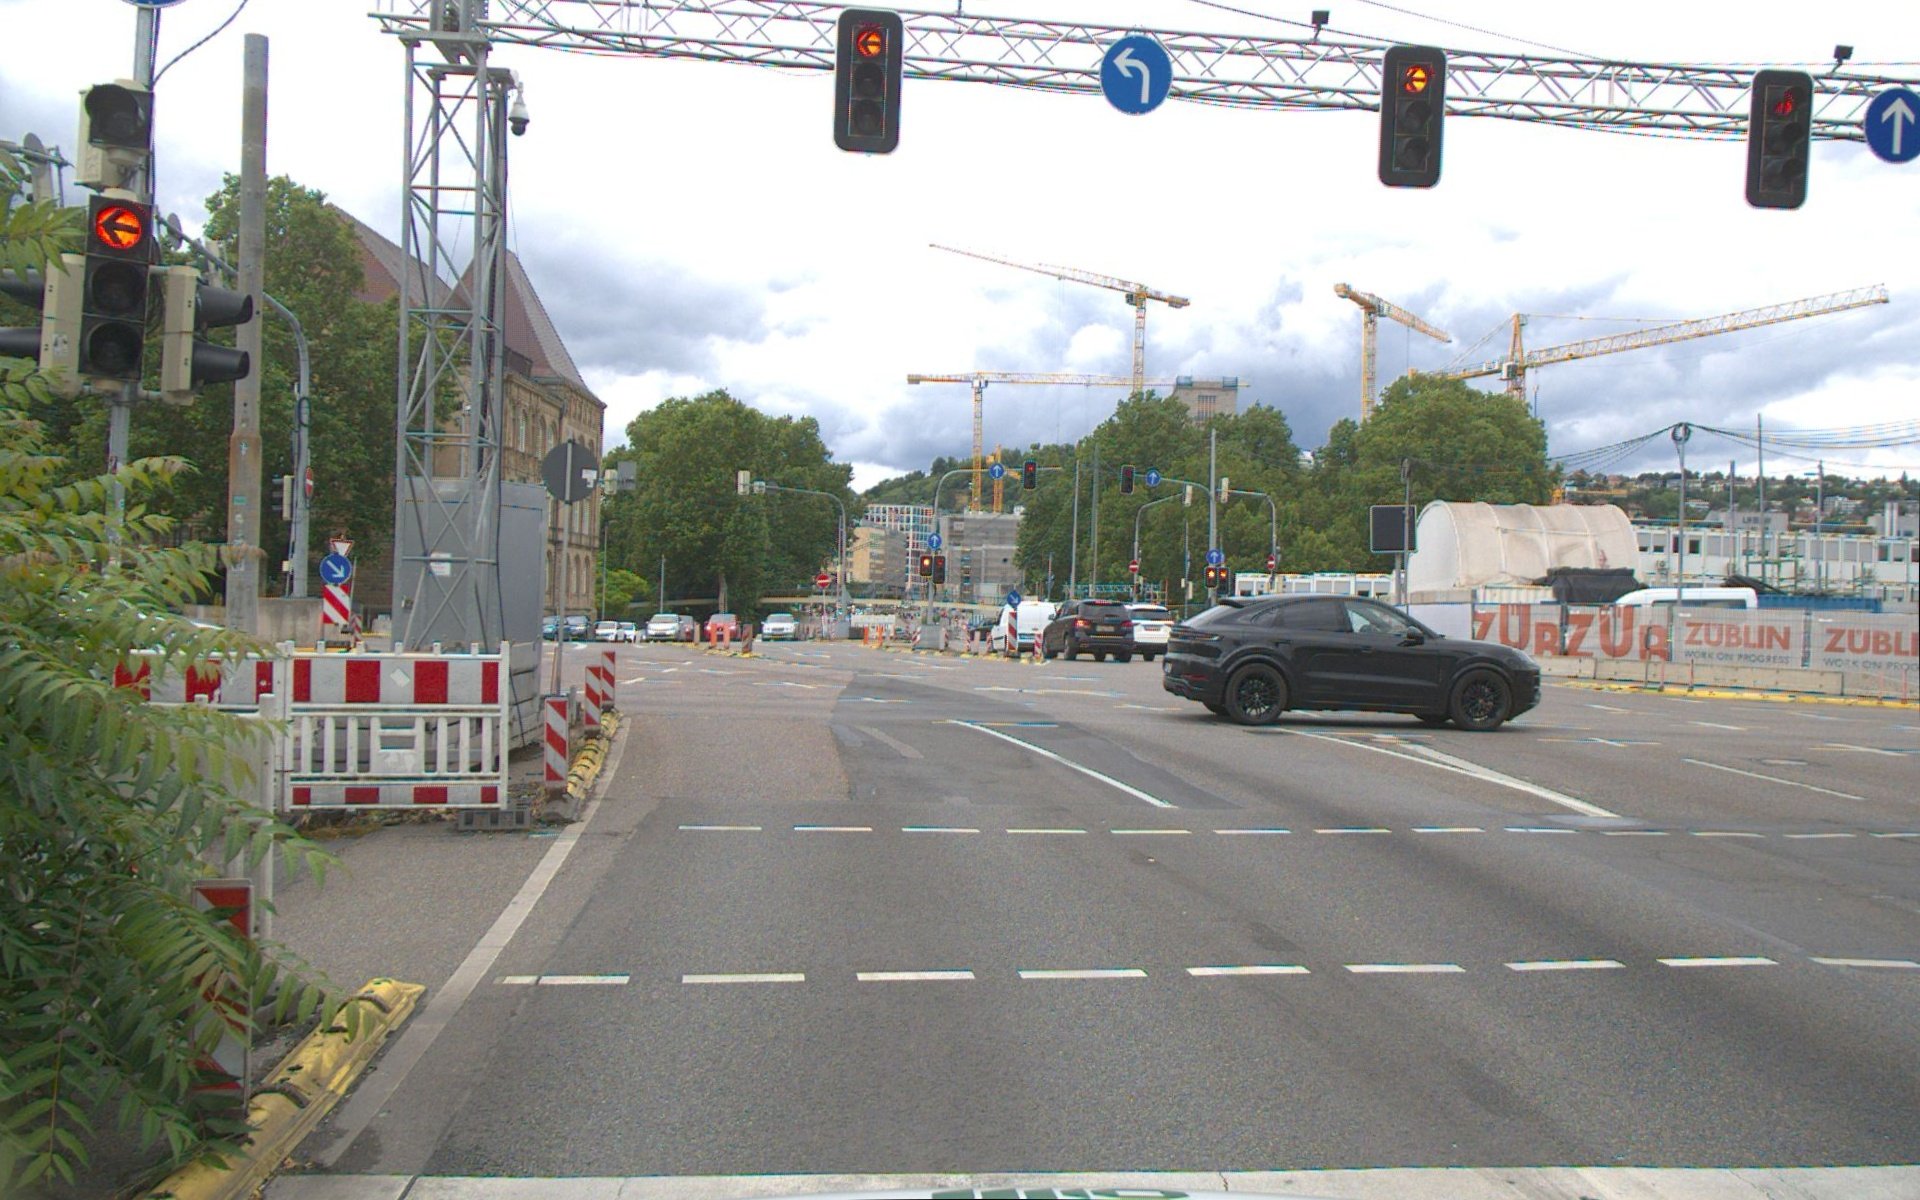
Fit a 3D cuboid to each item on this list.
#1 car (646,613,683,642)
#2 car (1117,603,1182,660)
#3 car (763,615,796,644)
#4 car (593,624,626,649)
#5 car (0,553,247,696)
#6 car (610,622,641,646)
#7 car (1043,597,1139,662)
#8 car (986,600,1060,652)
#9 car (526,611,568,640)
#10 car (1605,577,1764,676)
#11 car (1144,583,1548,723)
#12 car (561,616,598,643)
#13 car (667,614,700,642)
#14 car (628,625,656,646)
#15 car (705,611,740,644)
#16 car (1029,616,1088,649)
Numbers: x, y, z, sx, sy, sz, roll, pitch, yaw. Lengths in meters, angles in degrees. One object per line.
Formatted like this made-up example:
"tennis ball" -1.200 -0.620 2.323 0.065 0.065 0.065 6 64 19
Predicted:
"car" -15.248 1.406 85.381 1.644 1.422 3.677 1 0 -7
"car" 6.044 0.990 53.127 1.642 1.732 3.374 1 0 -1
"car" -9.284 1.508 84.858 1.644 1.422 3.677 1 0 -7
"car" -21.380 2.221 101.050 1.644 1.422 3.677 1 0 -7
"car" -11.484 0.275 20.375 4.616 1.653 1.680 1 0 -4
"car" -21.722 2.208 107.496 1.644 1.423 3.677 1 -3 -6
"car" 3.781 0.834 48.528 1.799 1.776 4.245 1 0 -10
"car" 2.084 0.842 55.549 1.783 1.653 3.993 1 0 -8
"car" -21.470 1.300 86.147 1.644 1.422 3.677 1 0 -7
"car" 20.825 0.743 47.678 3.902 2.708 1.683 1 0 13
"car" 4.880 0.659 21.382 4.712 1.653 2.019 1 0 -3
"car" -21.276 1.621 92.576 1.644 1.422 3.677 1 0 -7
"car" -15.287 1.533 91.540 1.644 1.422 3.677 1 0 -7
"car" -22.915 2.577 119.235 1.644 1.422 3.677 1 0 -7
"car" -12.116 1.365 84.519 1.644 1.608 3.677 1 0 -7
"car" 4.518 1.498 76.037 1.650 1.422 3.070 1 0 -19
